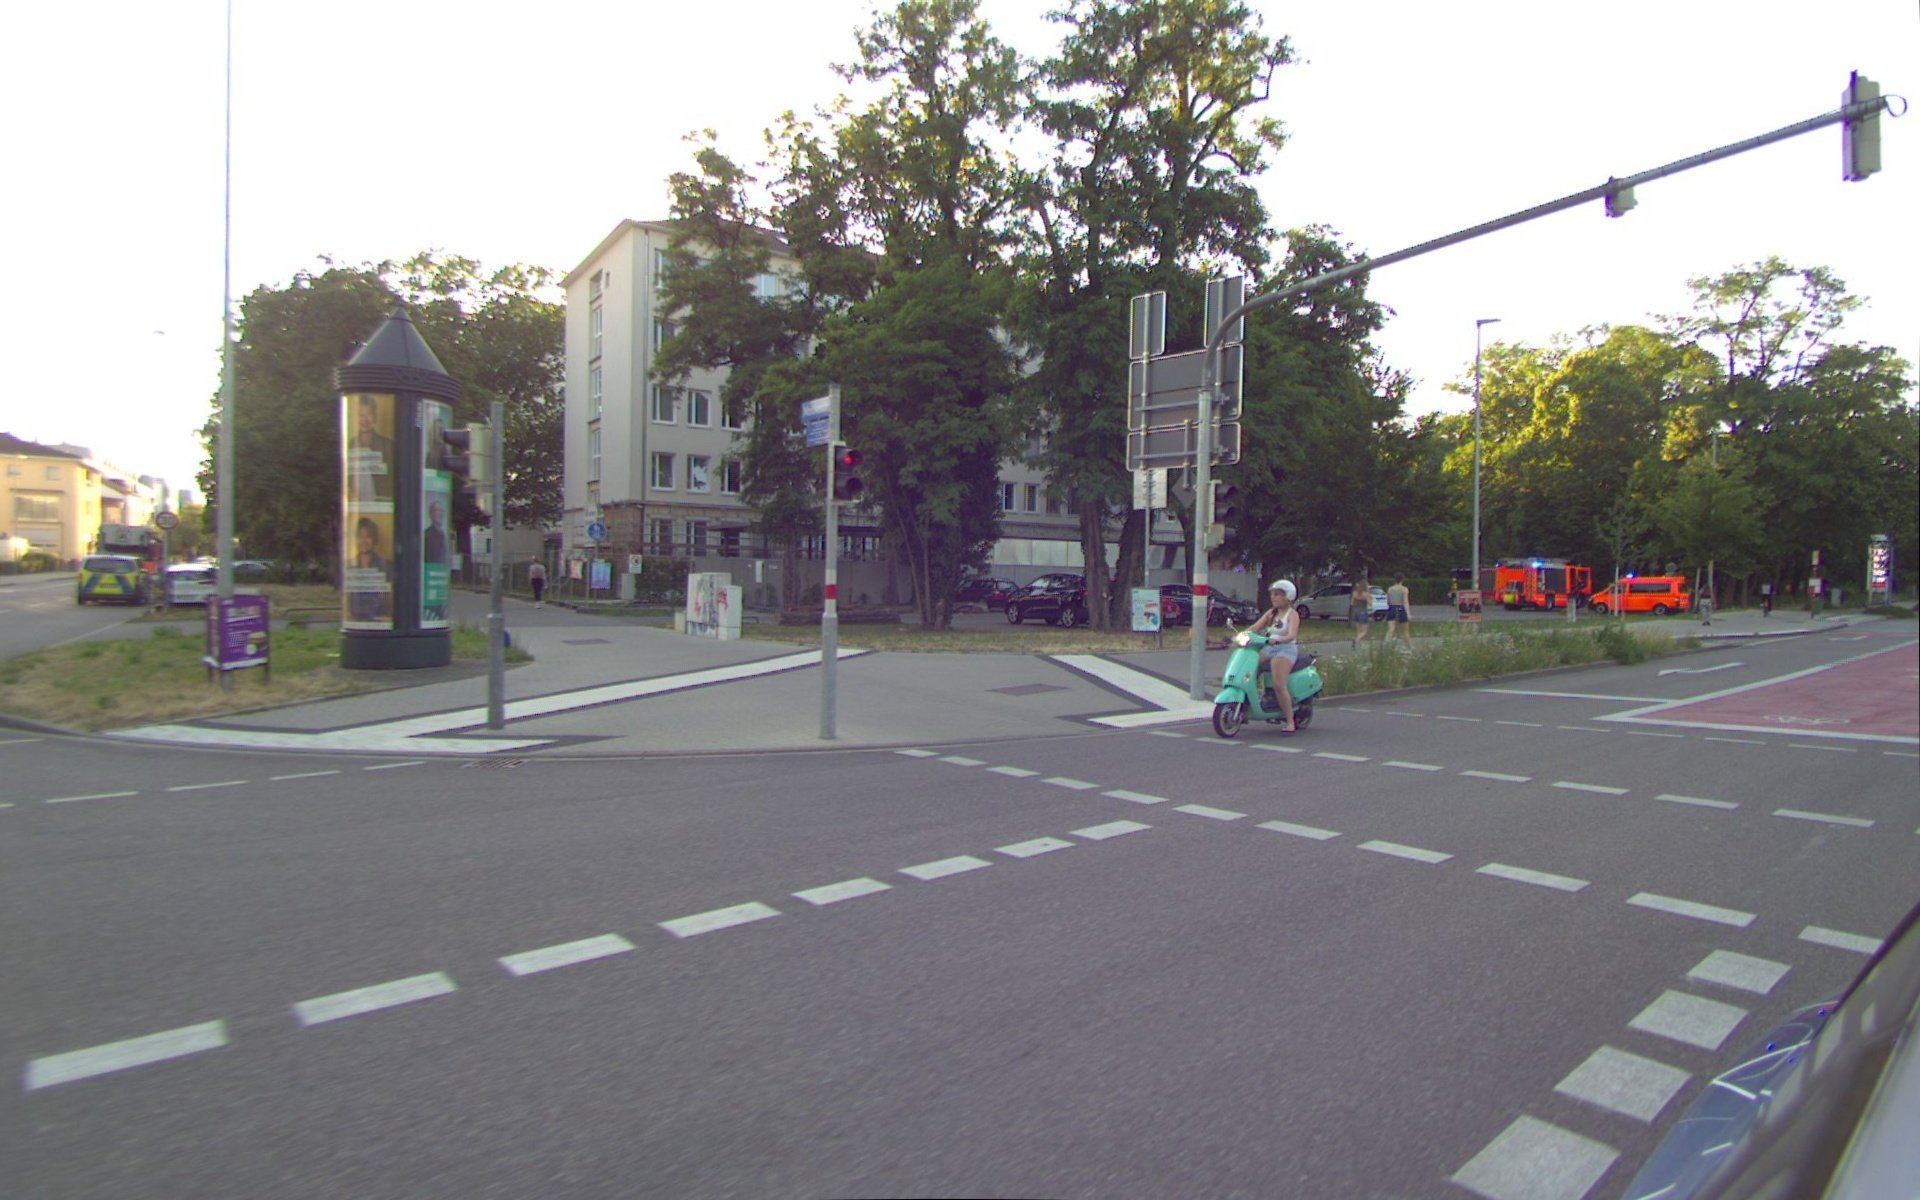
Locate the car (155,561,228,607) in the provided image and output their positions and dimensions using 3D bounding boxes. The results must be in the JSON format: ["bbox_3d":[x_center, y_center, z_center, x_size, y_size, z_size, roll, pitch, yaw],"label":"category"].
[{"bbox_3d":[-28.946,-0.628,38.222,1.962,1.631,4.002,0,2,-34],"label":"car"}]

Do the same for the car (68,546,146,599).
[{"bbox_3d":[-32.876,-1.011,39.125,2.018,1.886,4.494,0,0,-36],"label":"car"}]

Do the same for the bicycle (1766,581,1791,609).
[{"bbox_3d":[38.052,-0.242,47.047,1.866,1.256,0.571,0,2,-41],"label":"bicycle"}]

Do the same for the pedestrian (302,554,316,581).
[{"bbox_3d":[-40.286,-2.007,62.588,0.674,1.642,0.684,0,1,-28],"label":"pedestrian"}]

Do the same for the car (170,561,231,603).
[{"bbox_3d":[-31.730,-0.800,42.328,1.963,1.660,3.999,0,2,-36],"label":"car"}]

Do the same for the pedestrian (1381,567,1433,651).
[{"bbox_3d":[9.219,0.162,20.873,0.763,1.680,0.720,0,2,-42],"label":"pedestrian"}]

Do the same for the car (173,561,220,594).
[{"bbox_3d":[-41.282,-1.240,54.800,1.963,1.660,3.999,0,2,-36],"label":"car"}]

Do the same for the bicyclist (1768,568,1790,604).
[{"bbox_3d":[38.111,-0.661,47.091,1.019,1.652,0.571,0,2,-41],"label":"bicyclist"}]

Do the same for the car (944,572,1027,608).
[{"bbox_3d":[1.075,-0.465,44.208,1.738,1.477,3.625,0,2,-38],"label":"car"}]

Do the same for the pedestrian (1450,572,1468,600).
[{"bbox_3d":[33.715,-0.934,68.369,0.829,1.864,0.683,1,1,-1],"label":"pedestrian"}]

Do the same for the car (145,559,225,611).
[{"bbox_3d":[-26.329,-0.540,34.489,1.864,1.660,4.003,0,2,-33],"label":"car"}]

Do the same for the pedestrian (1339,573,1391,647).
[{"bbox_3d":[8.646,0.192,21.597,0.775,1.542,0.736,0,2,-40],"label":"pedestrian"}]

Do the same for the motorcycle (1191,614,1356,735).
[{"bbox_3d":[3.464,0.772,11.127,1.857,1.212,0.685,0,1,-32],"label":"motorcycle"}]

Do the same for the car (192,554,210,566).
[{"bbox_3d":[-133.800,-7.090,178.442,1.960,2.038,4.005,0,2,-30],"label":"car"}]

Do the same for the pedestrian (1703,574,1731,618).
[{"bbox_3d":[28.964,-0.158,38.726,0.676,1.642,0.682,1,1,-41],"label":"pedestrian"}]

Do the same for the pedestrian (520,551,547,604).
[{"bbox_3d":[-14.472,-0.757,34.344,0.690,1.760,0.897,0,1,-32],"label":"pedestrian"}]

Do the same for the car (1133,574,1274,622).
[{"bbox_3d":[8.212,-0.121,34.490,1.884,1.482,4.518,0,2,-37],"label":"car"}]

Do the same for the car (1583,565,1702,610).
[{"bbox_3d":[38.392,-0.746,57.031,1.963,2.422,5.167,0,2,-37],"label":"car"}]

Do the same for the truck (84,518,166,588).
[{"bbox_3d":[-41.698,-2.315,50.776,2.592,3.179,10.272,-1,2,-37],"label":"truck"}]

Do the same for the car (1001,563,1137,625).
[{"bbox_3d":[3.301,-0.236,31.369,1.882,1.762,4.240,0,2,-35],"label":"car"}]

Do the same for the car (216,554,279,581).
[{"bbox_3d":[-55.218,-2.538,78.457,3.746,1.804,1.930,-6,3,-41],"label":"car"}]

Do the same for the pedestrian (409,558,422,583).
[{"bbox_3d":[-35.127,-1.909,65.252,0.670,1.642,0.688,0,1,-36],"label":"pedestrian"}]

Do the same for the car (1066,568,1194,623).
[{"bbox_3d":[5.485,-0.188,33.101,1.882,1.630,4.002,0,2,-33],"label":"car"}]

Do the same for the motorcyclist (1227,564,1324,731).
[{"bbox_3d":[3.467,0.491,11.132,0.677,1.759,0.741,0,0,-32],"label":"motorcyclist"}]

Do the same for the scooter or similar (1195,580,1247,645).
[{"bbox_3d":[5.316,0.237,20.590,1.158,1.287,0.441,0,2,-41],"label":"scooter or similar"}]

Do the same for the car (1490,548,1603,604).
[{"bbox_3d":[36.576,-1.463,63.000,8.138,3.283,2.775,0,2,-34],"label":"car"}]

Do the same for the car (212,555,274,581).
[{"bbox_3d":[-56.992,-2.532,80.480,3.746,1.804,1.930,-6,3,-41],"label":"car"}]

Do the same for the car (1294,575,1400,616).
[{"bbox_3d":[15.379,-0.214,40.350,1.633,1.477,3.667,0,2,-35],"label":"car"}]
